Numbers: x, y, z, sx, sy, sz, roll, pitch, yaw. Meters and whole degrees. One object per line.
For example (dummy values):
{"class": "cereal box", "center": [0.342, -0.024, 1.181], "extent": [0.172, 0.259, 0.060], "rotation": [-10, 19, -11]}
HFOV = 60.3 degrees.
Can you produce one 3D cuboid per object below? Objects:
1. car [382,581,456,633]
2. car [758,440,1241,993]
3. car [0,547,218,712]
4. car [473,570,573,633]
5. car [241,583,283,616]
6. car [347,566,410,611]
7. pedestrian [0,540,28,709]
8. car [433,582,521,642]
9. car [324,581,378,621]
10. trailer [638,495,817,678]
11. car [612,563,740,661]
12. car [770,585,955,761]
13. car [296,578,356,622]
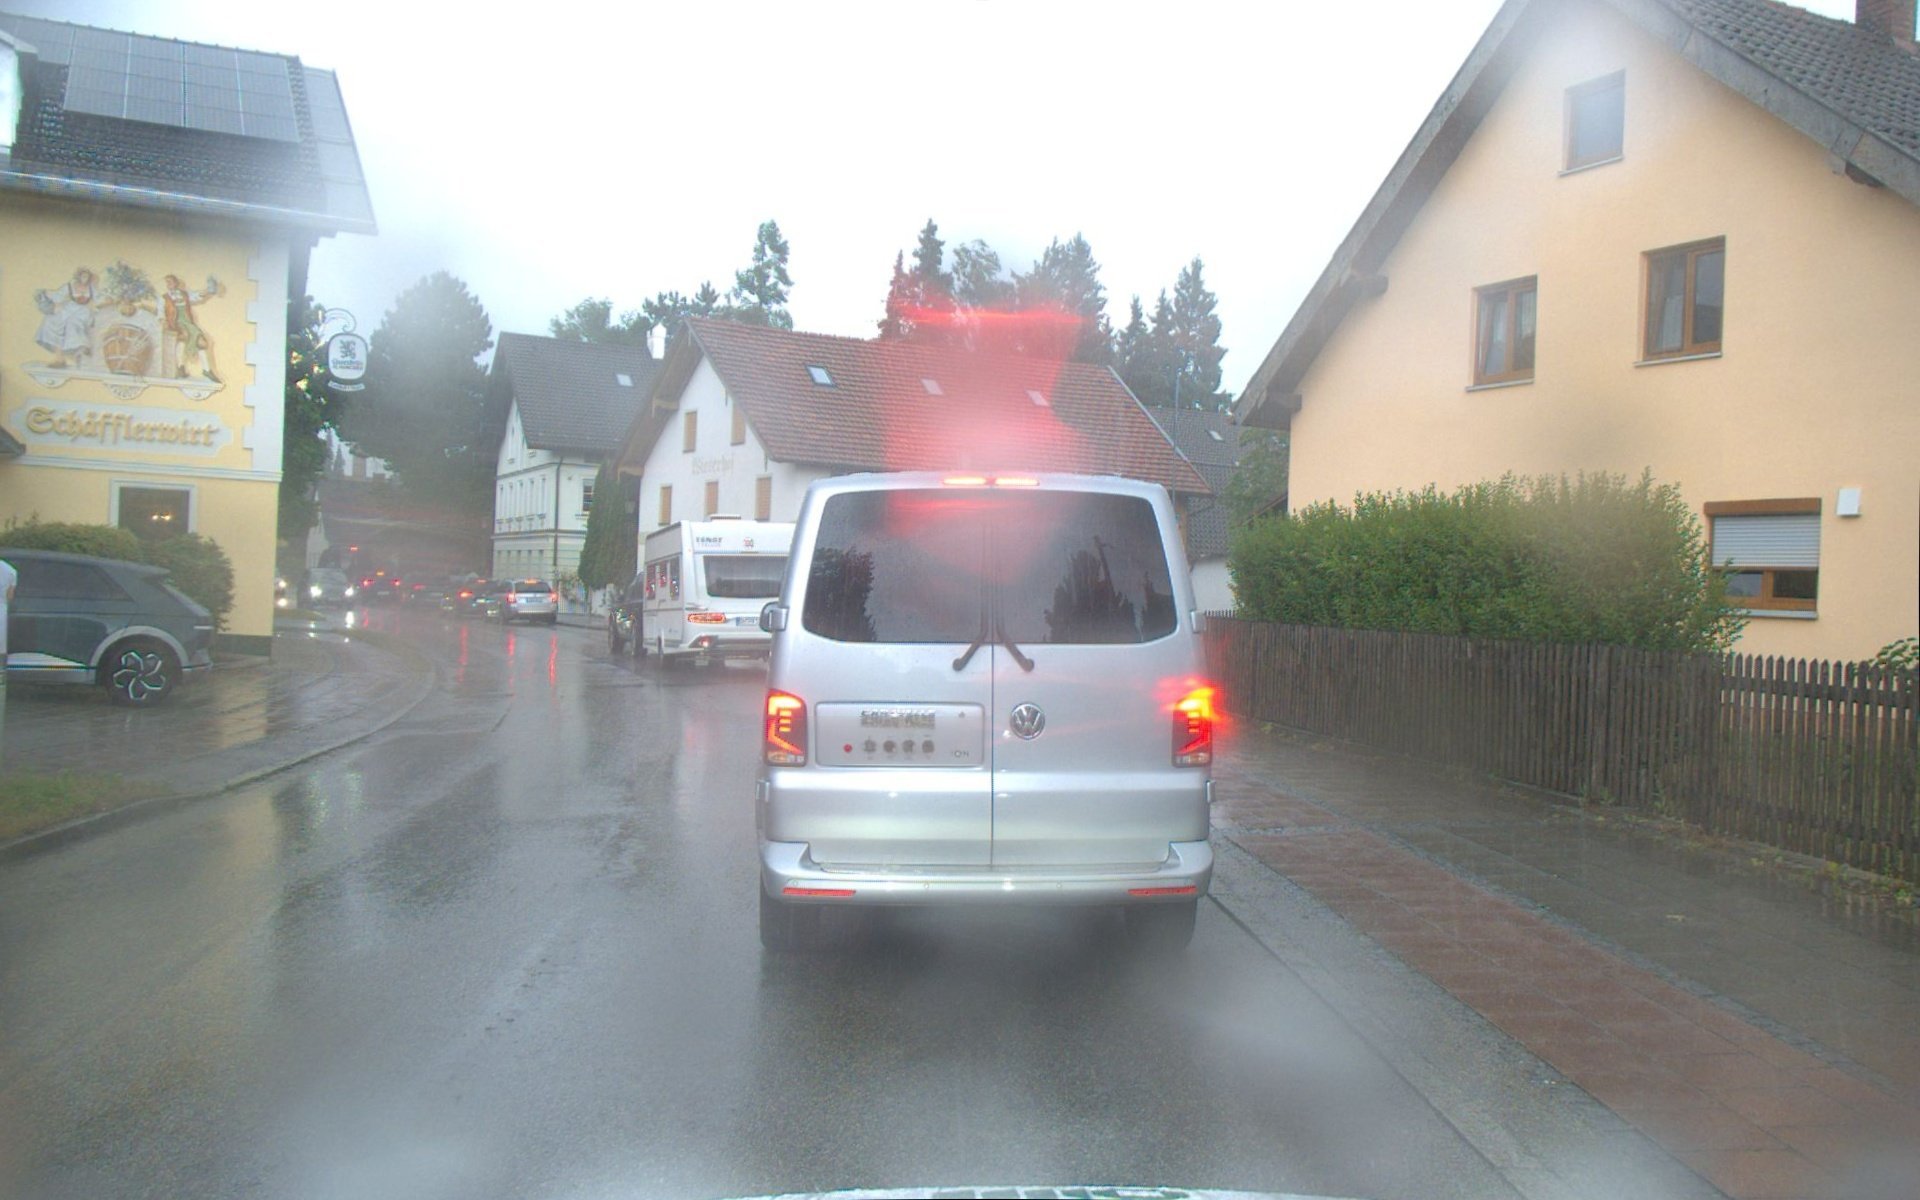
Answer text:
{"class": "car", "center": [-22.451, 0.257, 68.541], "extent": [2.143, 1.932, 4.971], "rotation": [2, 1, -27]}
{"class": "car", "center": [0.125, 0.417, 8.532], "extent": [1.740, 1.997, 5.073], "rotation": [0, 0, -1]}
{"class": "car", "center": [-10.718, 0.235, 18.210], "extent": [4.427, 1.594, 1.822], "rotation": [5, 1, -30]}
{"class": "car", "center": [-14.473, 0.038, 54.569], "extent": [2.143, 1.932, 4.970], "rotation": [2, -1, -27]}
{"class": "car", "center": [-37.061, -0.042, 87.823], "extent": [1.733, 1.707, 3.963], "rotation": [0, 0, -28]}
{"class": "car", "center": [-27.690, -0.553, 78.701], "extent": [2.143, 1.932, 4.971], "rotation": [2, 1, -27]}
{"class": "pedestrian", "center": [-10.029, 0.235, 17.098], "extent": [0.547, 1.719, 0.487], "rotation": [5, -1, -32]}
{"class": "car", "center": [-17.614, 0.406, 60.164], "extent": [2.143, 1.932, 4.971], "rotation": [2, 1, -27]}
{"class": "car", "center": [-32.815, 0.055, 89.080], "extent": [2.143, 1.932, 4.971], "rotation": [2, 1, -27]}
{"class": "trailer", "center": [-4.345, -0.231, 29.931], "extent": [2.235, 2.955, 6.102], "rotation": [1, 0, -17]}
{"class": "car", "center": [-6.137, 0.225, 35.290], "extent": [2.021, 1.932, 5.150], "rotation": [1, 0, -17]}
{"class": "car", "center": [-1.200, 0.676, 18.284], "extent": [1.676, 1.611, 4.677], "rotation": [-1, 1, -8]}
{"class": "car", "center": [-26.610, -0.014, 69.397], "extent": [1.900, 1.775, 4.154], "rotation": [0, 0, -28]}
